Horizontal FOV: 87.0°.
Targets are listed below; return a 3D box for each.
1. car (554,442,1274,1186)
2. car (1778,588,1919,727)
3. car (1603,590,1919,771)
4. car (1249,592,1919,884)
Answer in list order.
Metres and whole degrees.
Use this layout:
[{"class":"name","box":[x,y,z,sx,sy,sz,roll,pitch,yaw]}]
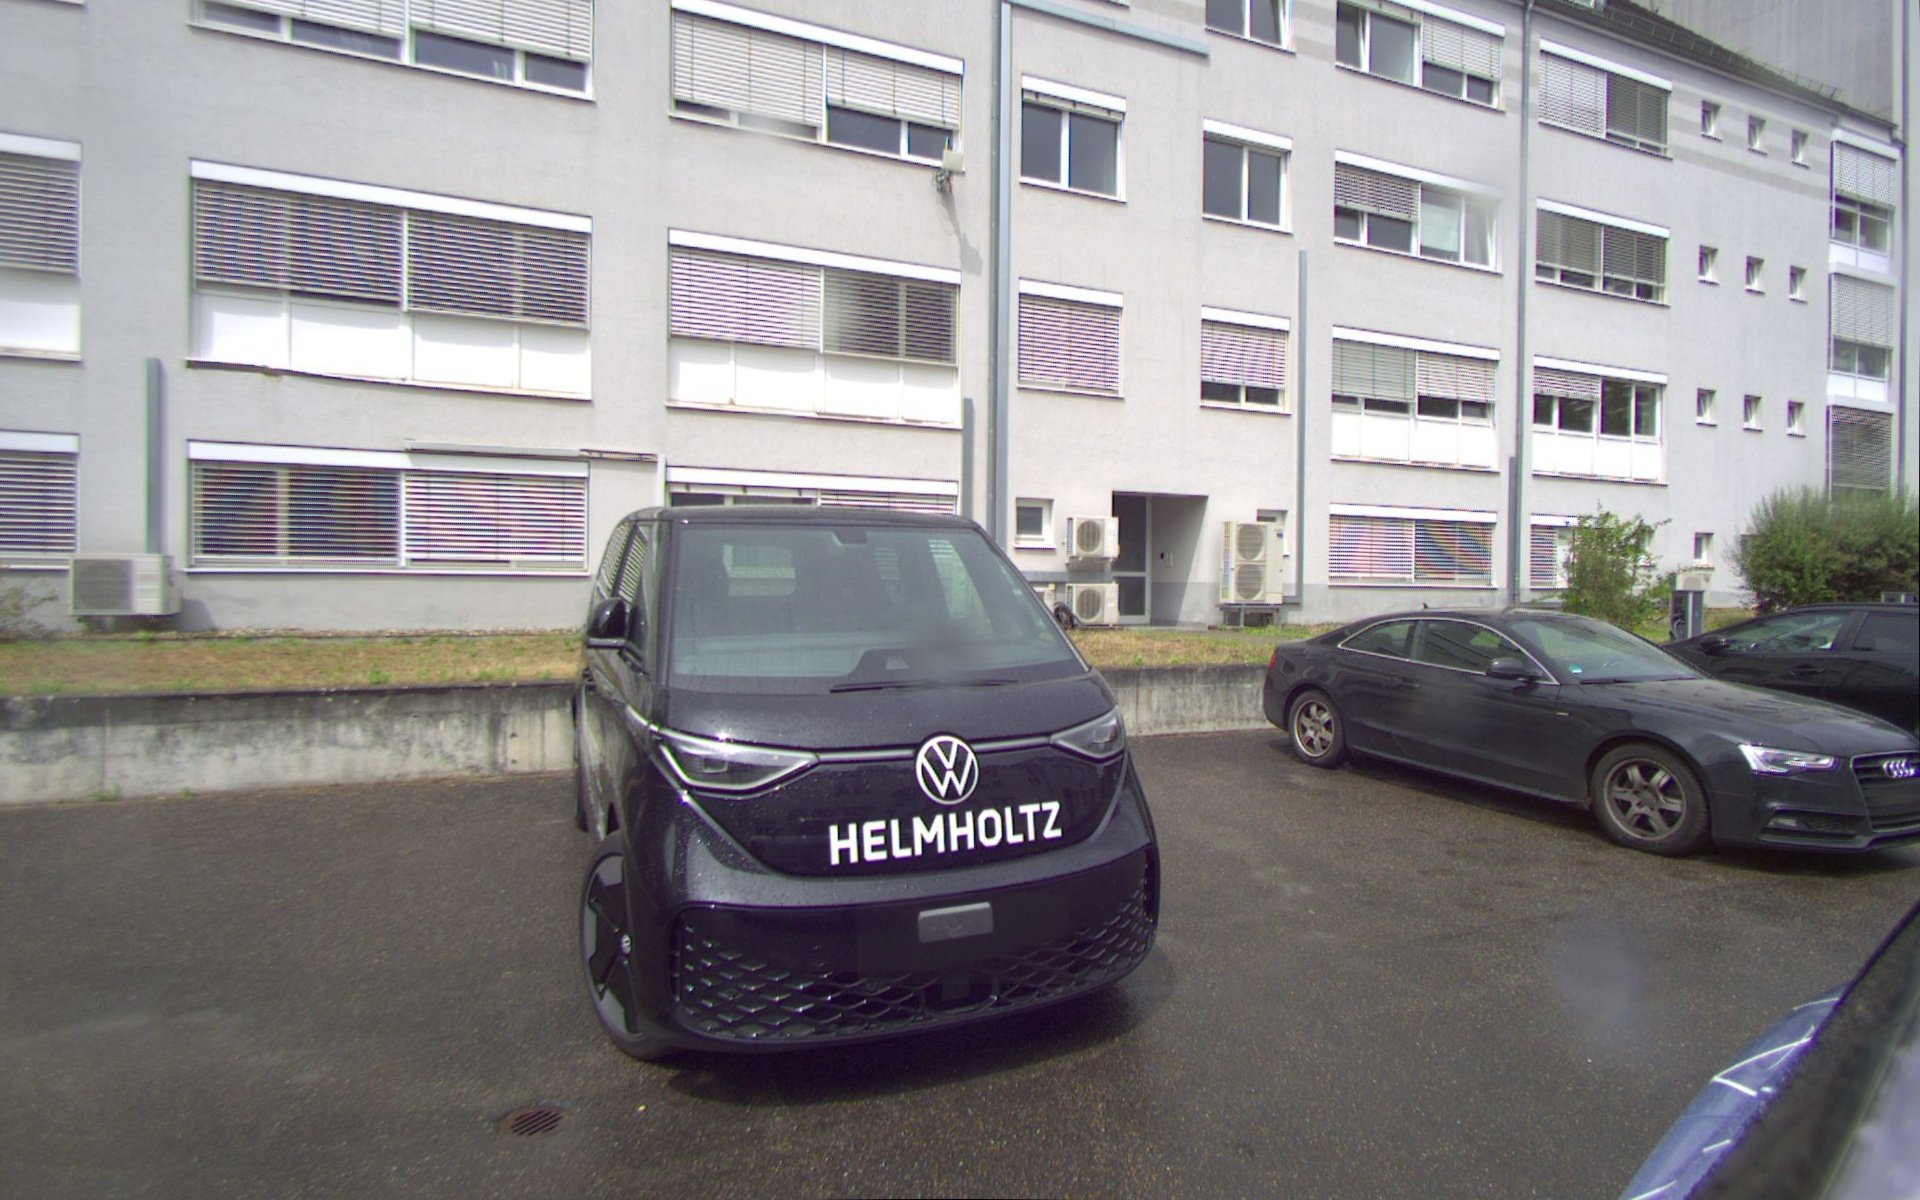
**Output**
[{"class":"car","box":[-0.865,0.455,5.099,2.066,1.856,4.735,0,2,-23]},{"class":"car","box":[11.480,0.662,10.634,1.794,1.473,4.120,0,2,-21]},{"class":"car","box":[8.547,0.674,9.218,1.899,1.418,4.192,-1,2,-23]},{"class":"car","box":[4.290,0.678,7.385,1.821,1.365,4.377,1,1,-23]}]
